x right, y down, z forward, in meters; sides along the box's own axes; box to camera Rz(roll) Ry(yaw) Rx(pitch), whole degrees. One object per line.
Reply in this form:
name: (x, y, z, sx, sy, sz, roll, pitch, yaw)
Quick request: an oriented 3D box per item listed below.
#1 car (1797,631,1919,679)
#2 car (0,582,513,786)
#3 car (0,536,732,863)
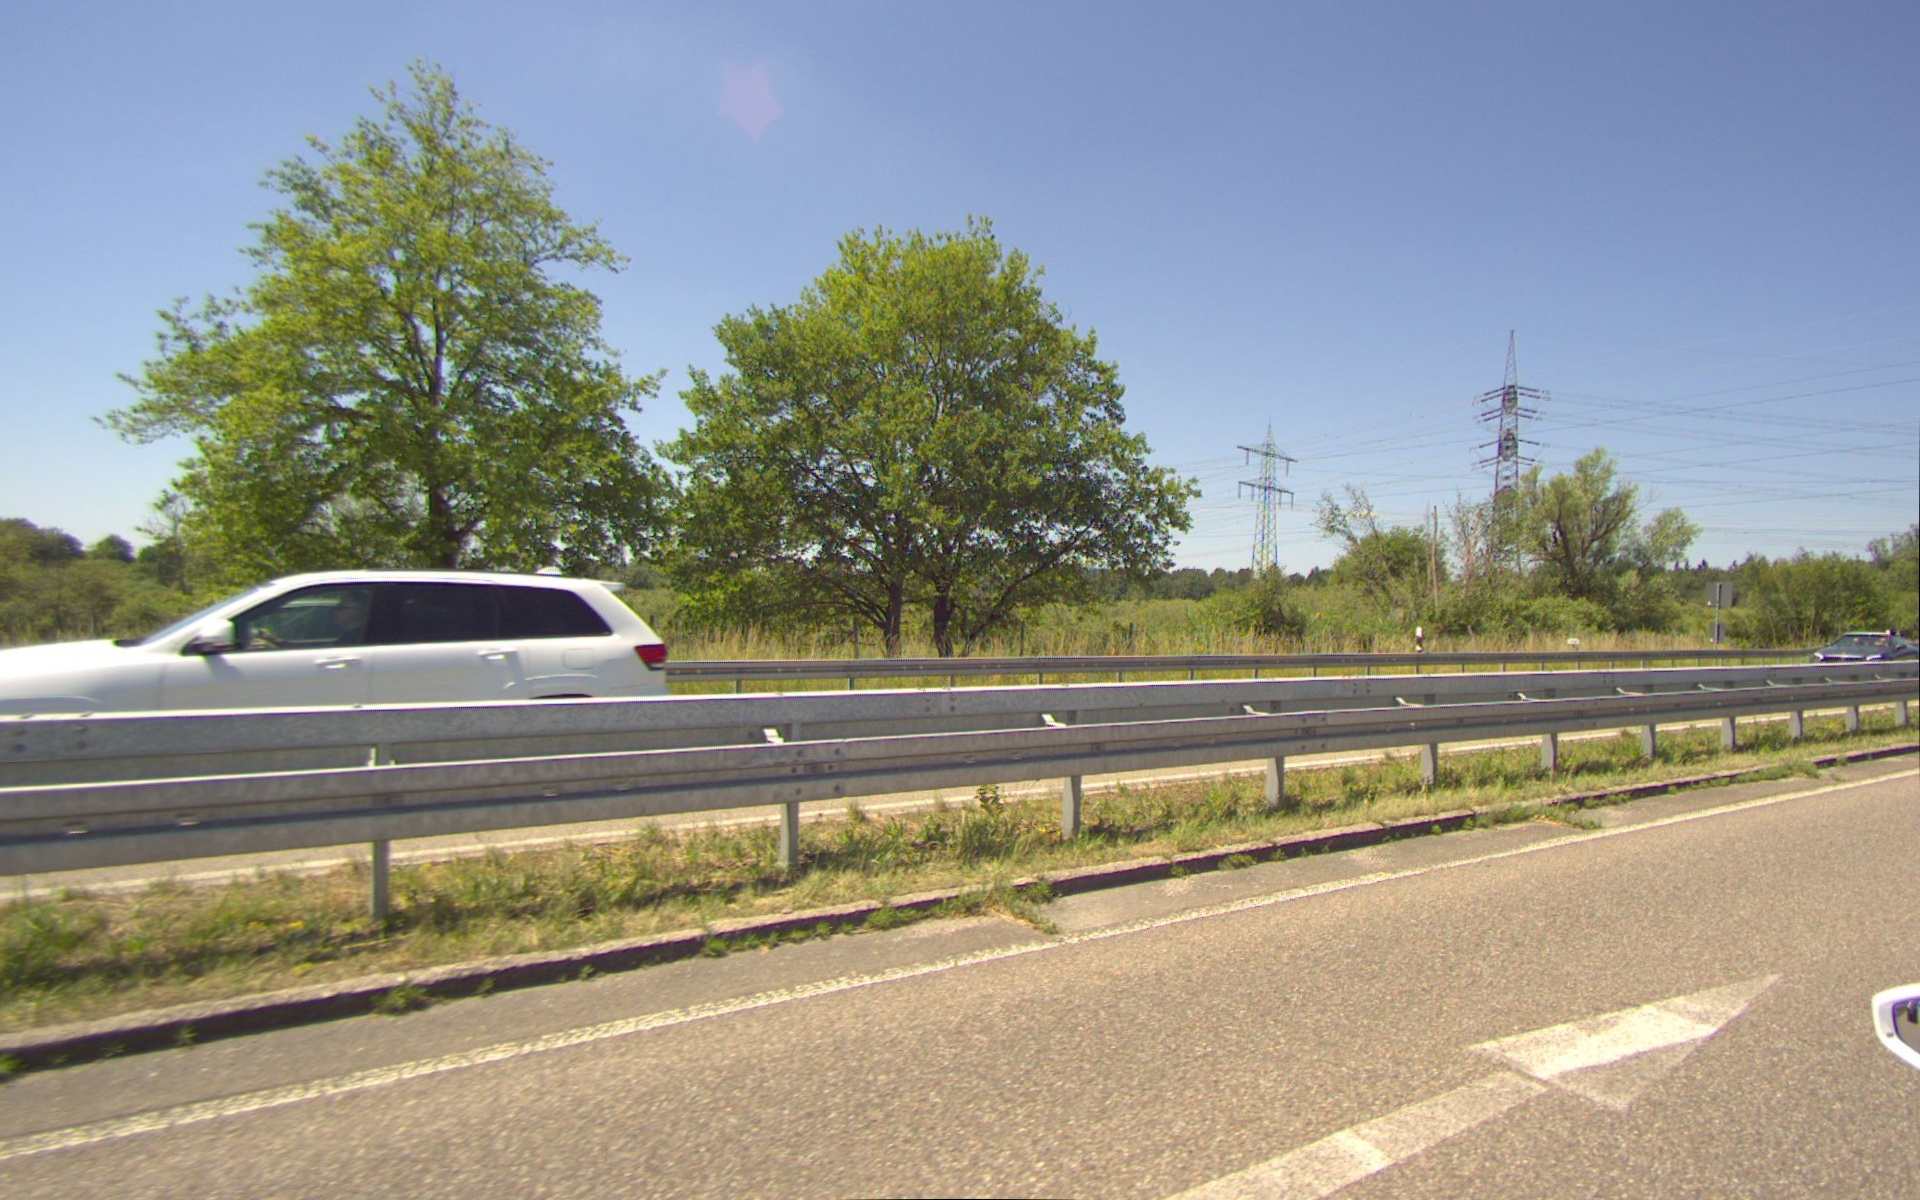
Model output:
car: (28.639, 1.709, 31.810, 4.605, 1.403, 1.914, 1, -1, -31)
car: (-6.736, 0.714, 9.813, 4.124, 1.639, 1.832, 1, -1, -32)
car: (-4.392, 0.595, 7.438, 4.913, 1.832, 1.969, 1, -1, -32)
